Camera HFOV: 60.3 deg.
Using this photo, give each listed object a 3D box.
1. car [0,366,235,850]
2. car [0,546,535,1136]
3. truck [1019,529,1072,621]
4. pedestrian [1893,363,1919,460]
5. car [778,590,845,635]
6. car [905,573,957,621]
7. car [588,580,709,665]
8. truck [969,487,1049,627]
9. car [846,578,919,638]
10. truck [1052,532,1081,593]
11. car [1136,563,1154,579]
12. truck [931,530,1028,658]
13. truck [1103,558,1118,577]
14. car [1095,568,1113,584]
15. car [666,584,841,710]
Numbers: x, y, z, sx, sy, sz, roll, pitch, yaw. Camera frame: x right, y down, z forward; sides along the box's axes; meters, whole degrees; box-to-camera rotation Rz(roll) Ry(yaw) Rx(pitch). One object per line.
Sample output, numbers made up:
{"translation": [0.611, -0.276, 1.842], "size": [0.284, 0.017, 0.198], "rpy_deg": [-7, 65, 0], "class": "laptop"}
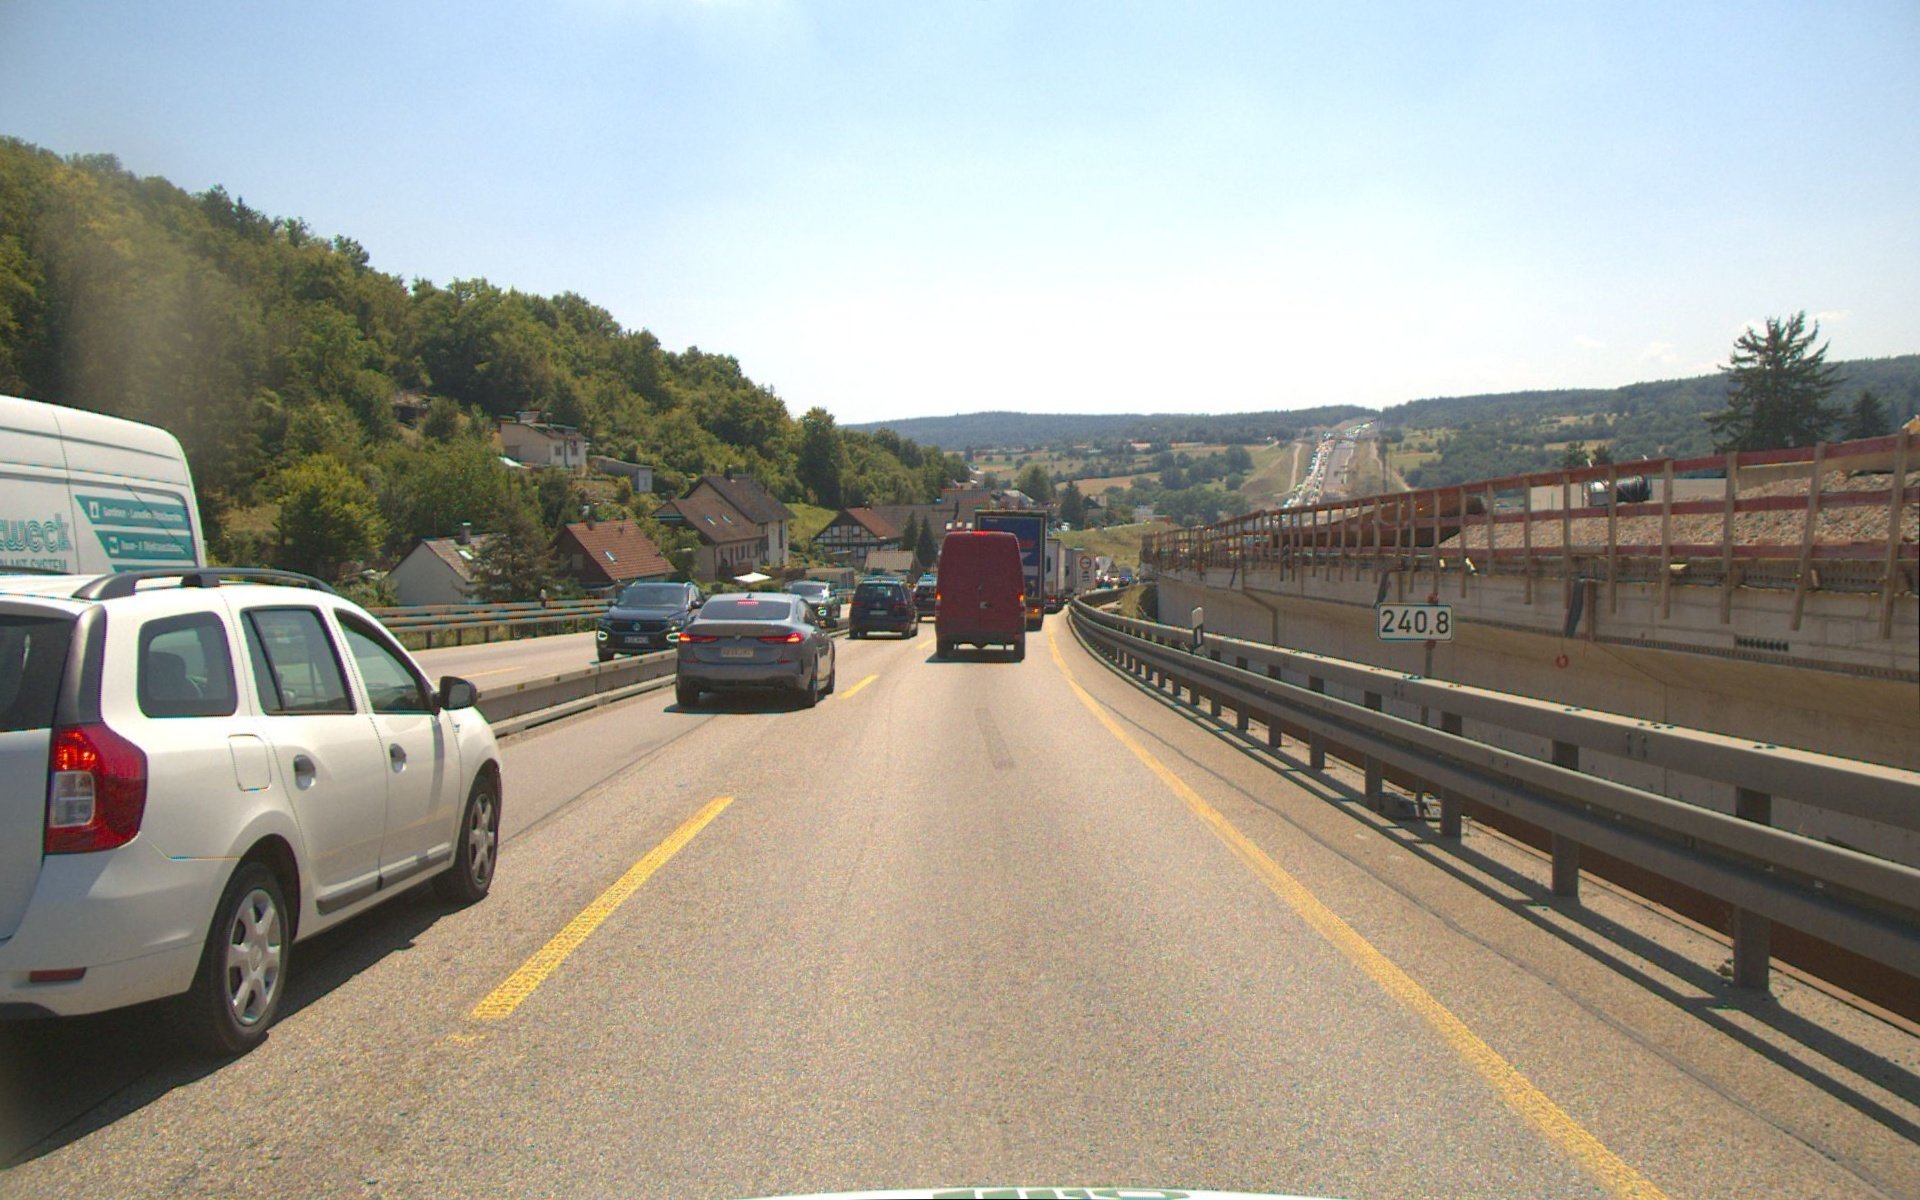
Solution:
{"translation": [-6.368, 0.040, 9.077], "size": [1.930, 2.727, 6.659], "rpy_deg": [0, 0, -1], "class": "car"}
{"translation": [-3.002, 0.639, 6.377], "size": [1.618, 1.509, 4.266], "rpy_deg": [-1, 0, 0], "class": "car"}
{"translation": [4.768, -1.309, 93.523], "size": [2.728, 4.900, 9.687], "rpy_deg": [1, 0, 2], "class": "truck"}
{"translation": [12.774, -2.429, 21.315], "size": [0.998, 1.171, 0.995], "rpy_deg": [1, 0, 6], "class": "pedestrian"}
{"translation": [-5.337, 0.413, 59.954], "size": [1.872, 1.512, 4.478], "rpy_deg": [1, 1, 2], "class": "car"}
{"translation": [-1.145, -0.117, 67.014], "size": [1.693, 1.870, 4.002], "rpy_deg": [1, 0, 5], "class": "car"}
{"translation": [-6.168, 0.428, 33.166], "size": [1.694, 1.578, 4.035], "rpy_deg": [1, 0, -1], "class": "car"}
{"translation": [1.904, -1.488, 62.884], "size": [2.728, 4.900, 9.687], "rpy_deg": [1, 0, 2], "class": "truck"}
{"translation": [-2.226, 0.236, 48.207], "size": [1.772, 1.636, 3.720], "rpy_deg": [1, 0, 2], "class": "car"}
{"translation": [7.992, -2.754, 124.016], "size": [1.951, 4.458, 4.002], "rpy_deg": [1, 0, 5], "class": "truck"}
{"translation": [25.446, -4.018, 227.326], "size": [2.086, 2.049, 4.003], "rpy_deg": [1, 0, 10], "class": "car"}
{"translation": [0.452, -0.110, 36.313], "size": [1.952, 2.623, 4.000], "rpy_deg": [1, 0, 1], "class": "truck"}
{"translation": [13.386, -2.876, 146.833], "size": [1.286, 1.569, 3.154], "rpy_deg": [1, 0, 6], "class": "truck"}
{"translation": [18.196, -3.031, 208.888], "size": [1.765, 2.048, 4.004], "rpy_deg": [2, 1, 10], "class": "car"}
{"translation": [-2.634, 0.552, 21.985], "size": [1.758, 1.511, 4.050], "rpy_deg": [0, 0, 1], "class": "car"}
